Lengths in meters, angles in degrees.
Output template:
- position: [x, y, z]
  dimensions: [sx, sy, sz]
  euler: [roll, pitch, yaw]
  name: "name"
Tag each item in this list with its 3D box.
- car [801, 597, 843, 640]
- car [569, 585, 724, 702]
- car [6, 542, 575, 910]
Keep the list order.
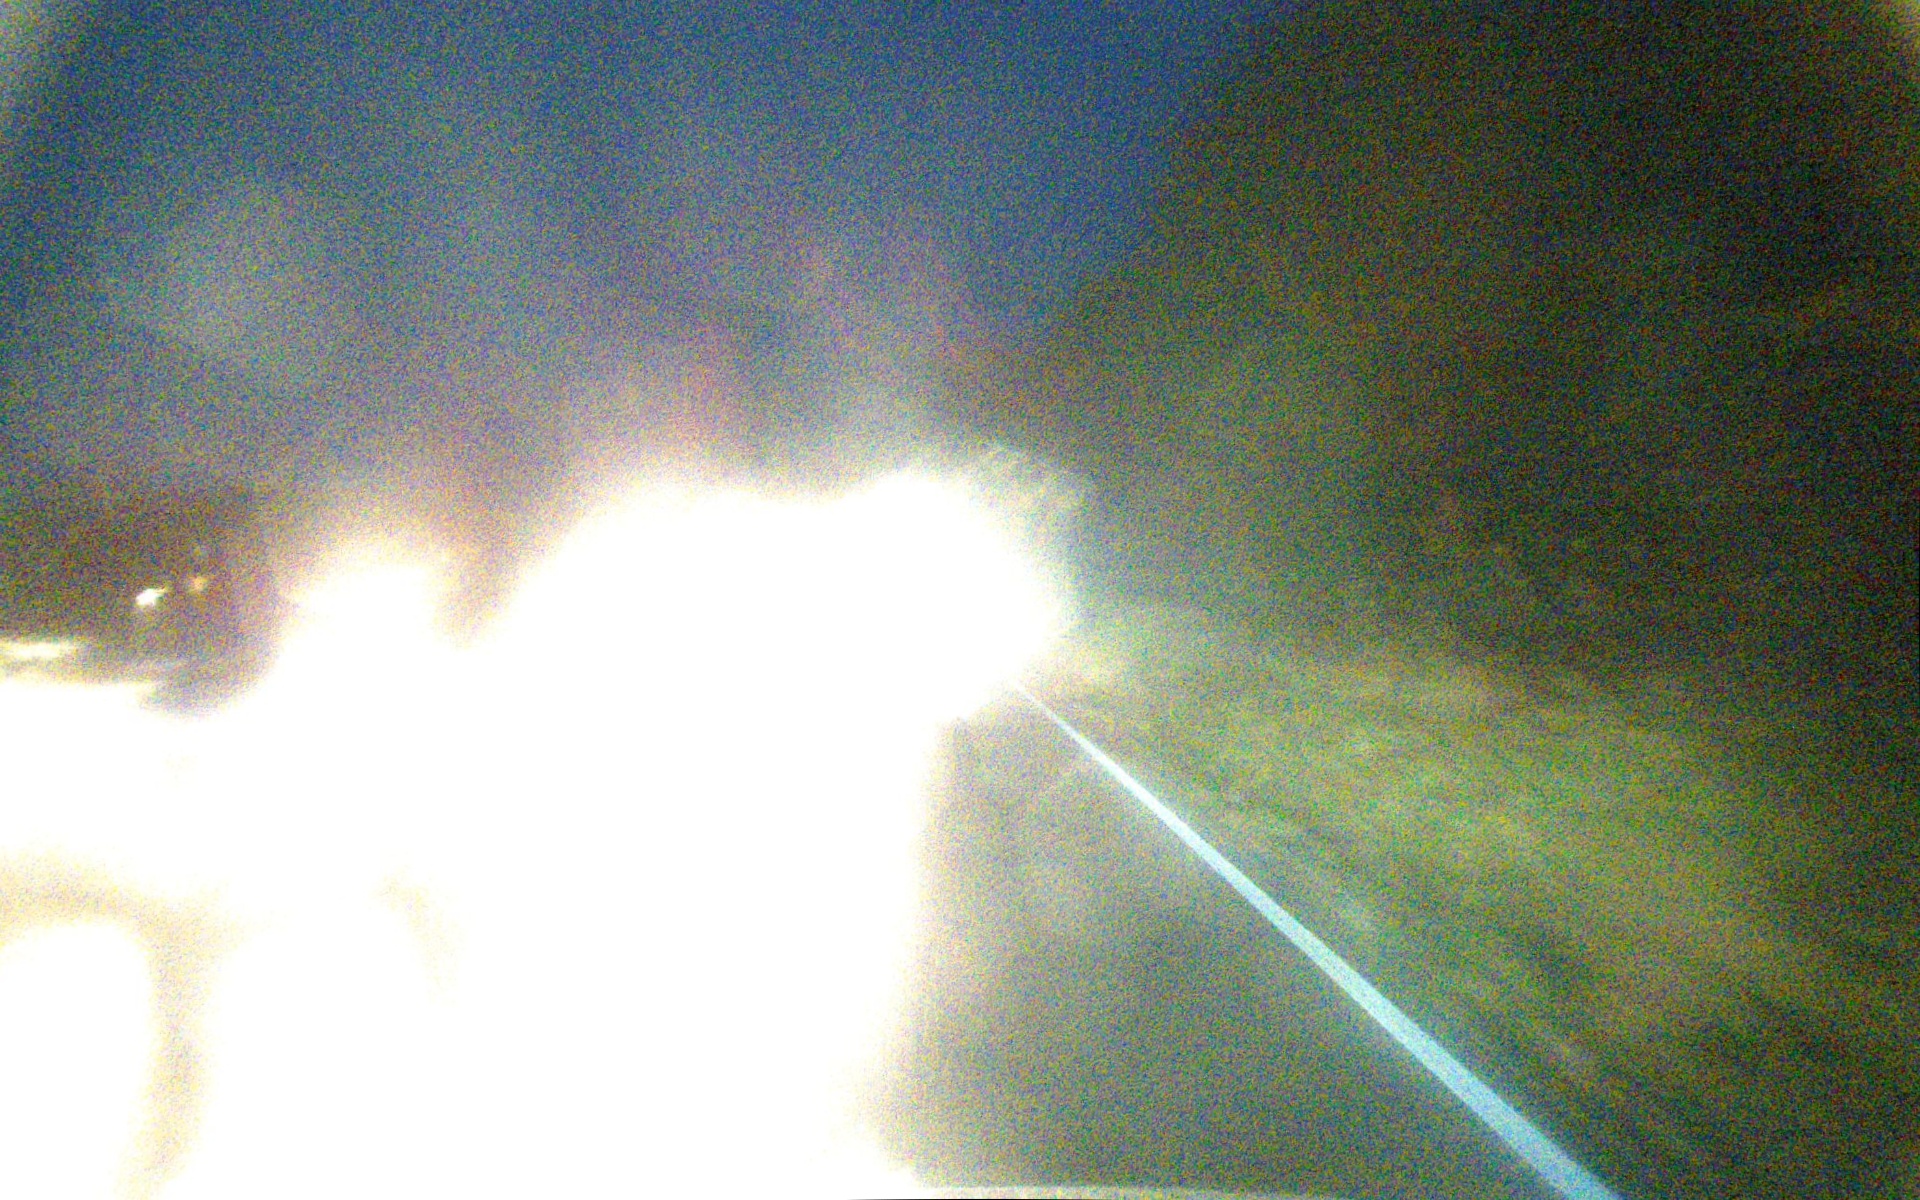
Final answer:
- position: [-5.682, 0.730, 68.349]
  dimensions: [1.453, 1.644, 3.559]
  euler: [3, 0, -1]
  name: "car"
- position: [-4.453, 0.577, 23.987]
  dimensions: [1.659, 1.546, 3.860]
  euler: [1, 0, -3]
  name: "car"
- position: [-3.677, 0.589, 10.051]
  dimensions: [1.620, 1.712, 4.520]
  euler: [1, 0, 0]
  name: "car"
